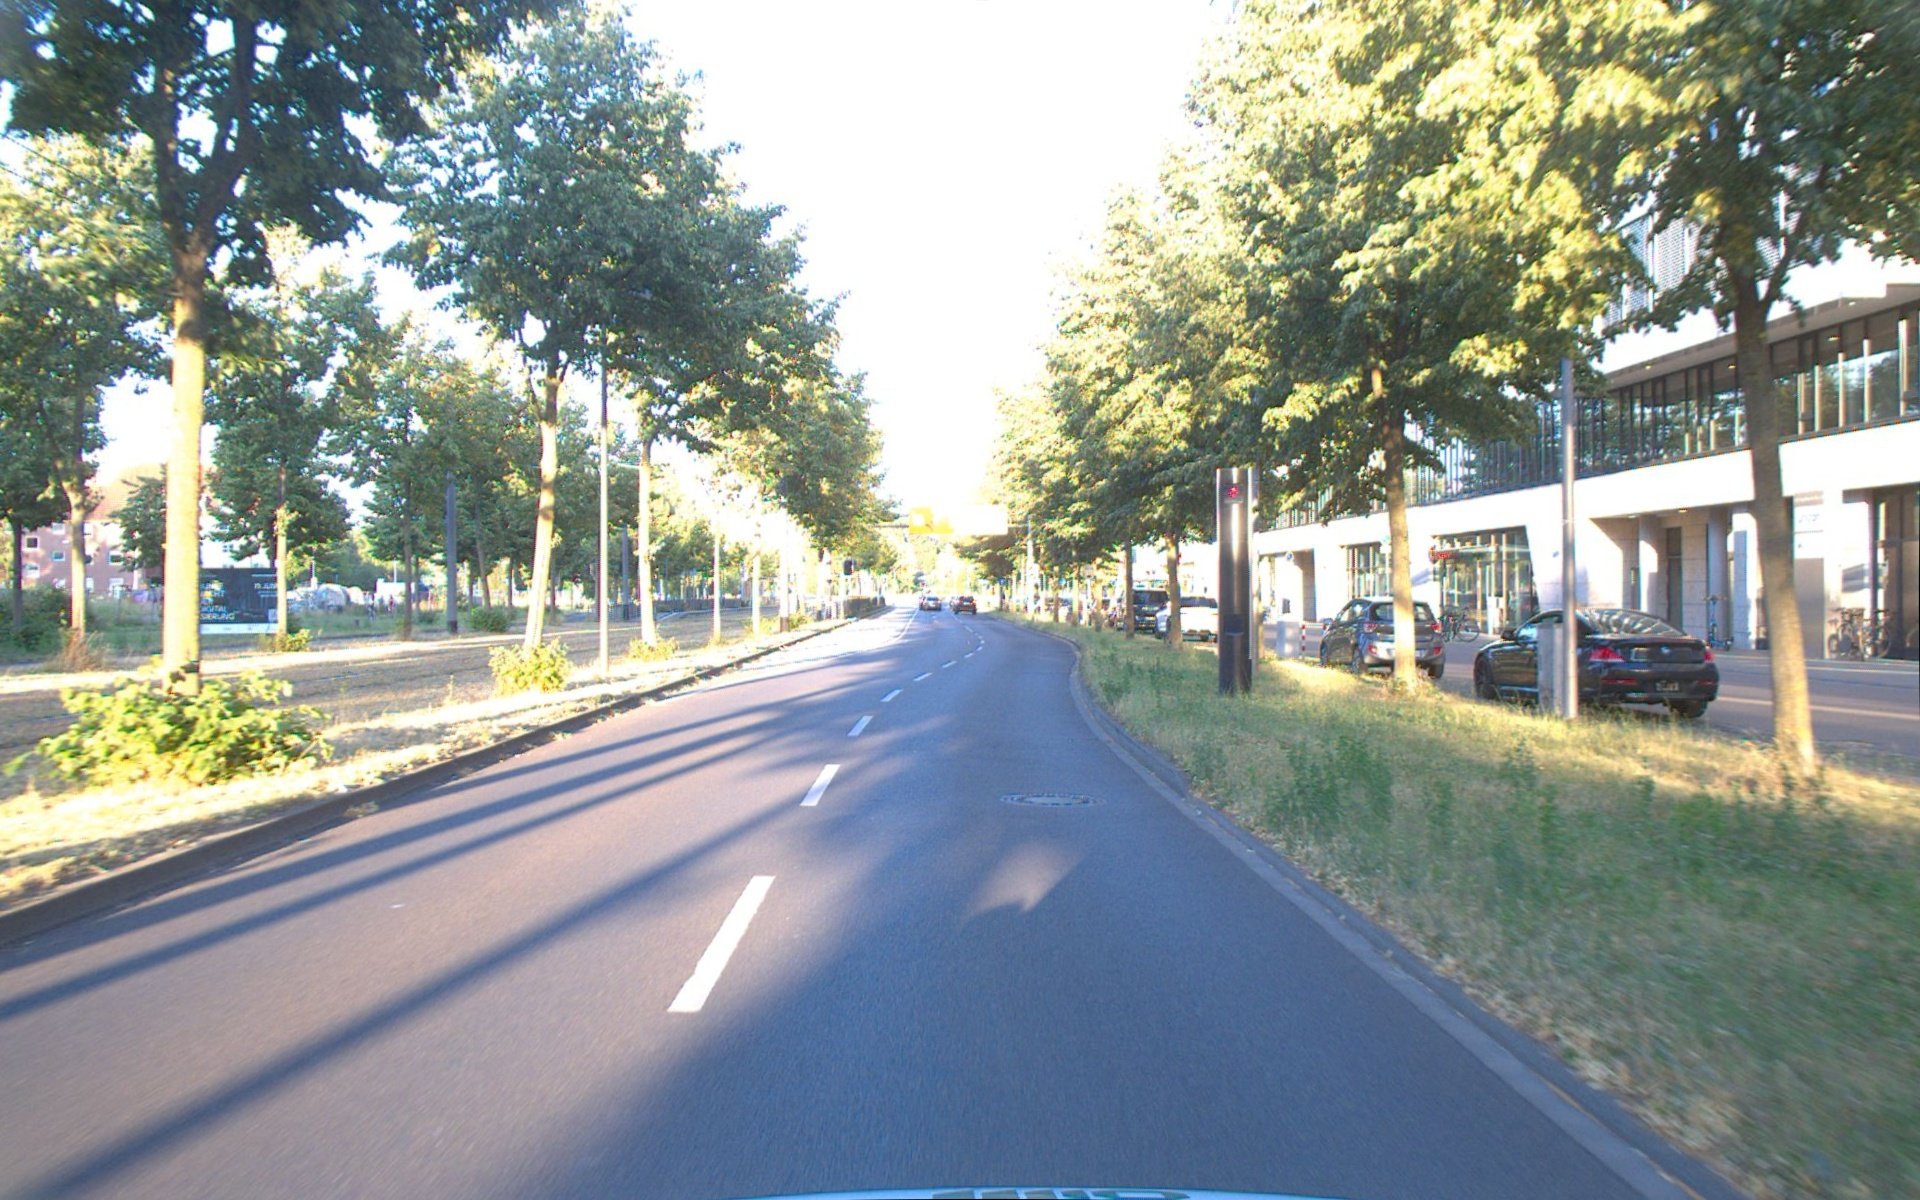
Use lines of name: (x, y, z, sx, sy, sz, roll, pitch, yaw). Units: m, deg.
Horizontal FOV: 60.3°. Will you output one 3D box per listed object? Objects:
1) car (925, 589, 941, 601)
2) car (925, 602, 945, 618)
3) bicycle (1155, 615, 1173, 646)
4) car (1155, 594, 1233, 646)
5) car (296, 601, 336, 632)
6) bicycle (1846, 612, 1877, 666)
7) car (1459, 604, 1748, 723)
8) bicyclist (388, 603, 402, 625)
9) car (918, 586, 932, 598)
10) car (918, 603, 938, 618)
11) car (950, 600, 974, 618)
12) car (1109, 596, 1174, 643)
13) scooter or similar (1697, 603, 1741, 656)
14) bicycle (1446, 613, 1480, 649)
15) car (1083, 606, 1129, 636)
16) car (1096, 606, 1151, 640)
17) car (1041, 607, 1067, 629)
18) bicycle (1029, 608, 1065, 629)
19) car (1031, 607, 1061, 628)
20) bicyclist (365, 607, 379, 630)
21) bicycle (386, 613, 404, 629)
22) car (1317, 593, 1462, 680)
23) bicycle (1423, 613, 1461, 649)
car: (-3.357, -0.596, 202.041, 1.873, 1.512, 3.998, 0, 0, -2)
car: (-2.430, 0.919, 158.979, 1.873, 1.512, 3.998, 0, 0, -2)
bicycle: (5.745, 0.857, 46.625, 0.308, 0.838, 1.552, -1, 0, 0)
car: (7.982, 0.673, 56.816, 1.953, 1.671, 4.877, 0, 0, 0)
car: (-47.857, 1.219, 122.829, 2.385, 2.263, 5.872, 0, 0, -25)
bicycle: (17.968, 0.770, 32.977, 0.444, 1.045, 1.393, -1, 0, 25)
car: (8.489, 0.771, 22.354, 1.815, 1.391, 4.831, 0, 0, -3)
bicyclist: (-37.043, 0.922, 108.453, 0.607, 1.482, 0.937, 0, 0, -3)
car: (-4.599, -1.026, 217.482, 1.873, 1.512, 3.998, 0, 0, -2)
car: (-3.228, 1.047, 165.877, 1.873, 1.512, 3.998, 0, 0, -2)
car: (0.166, 0.739, 138.809, 1.873, 1.512, 3.998, 0, 0, -2)
car: (7.548, 0.779, 69.205, 1.954, 1.884, 4.662, 0, 0, -3)
scooter or similar: (17.875, 0.689, 38.962, 0.462, 1.232, 1.228, -1, 0, 0)
bicycle: (15.248, 0.942, 50.150, 0.461, 1.057, 1.806, -1, 0, 0)
car: (7.232, 1.042, 82.210, 1.831, 1.436, 4.645, -1, 0, 0)
car: (7.431, 1.027, 75.481, 1.773, 1.497, 4.662, 0, 0, -3)
car: (6.558, 1.247, 115.325, 1.543, 1.498, 3.881, 0, 0, -1)
bicycle: (4.845, 1.046, 92.277, 1.910, 1.072, 0.543, 3, -1, -16)
car: (6.349, 1.302, 122.079, 1.742, 1.498, 4.285, 0, 0, -3)
bicyclist: (-37.624, 1.179, 105.895, 0.607, 1.446, 0.937, 0, 0, -3)
bicycle: (-37.034, 1.352, 108.446, 0.607, 1.029, 2.082, 0, 0, -3)
car: (8.261, 0.666, 32.127, 1.675, 1.542, 3.757, 2, 0, -2)
bicycle: (14.689, 0.931, 50.410, 0.582, 1.057, 1.892, -1, 0, 0)
